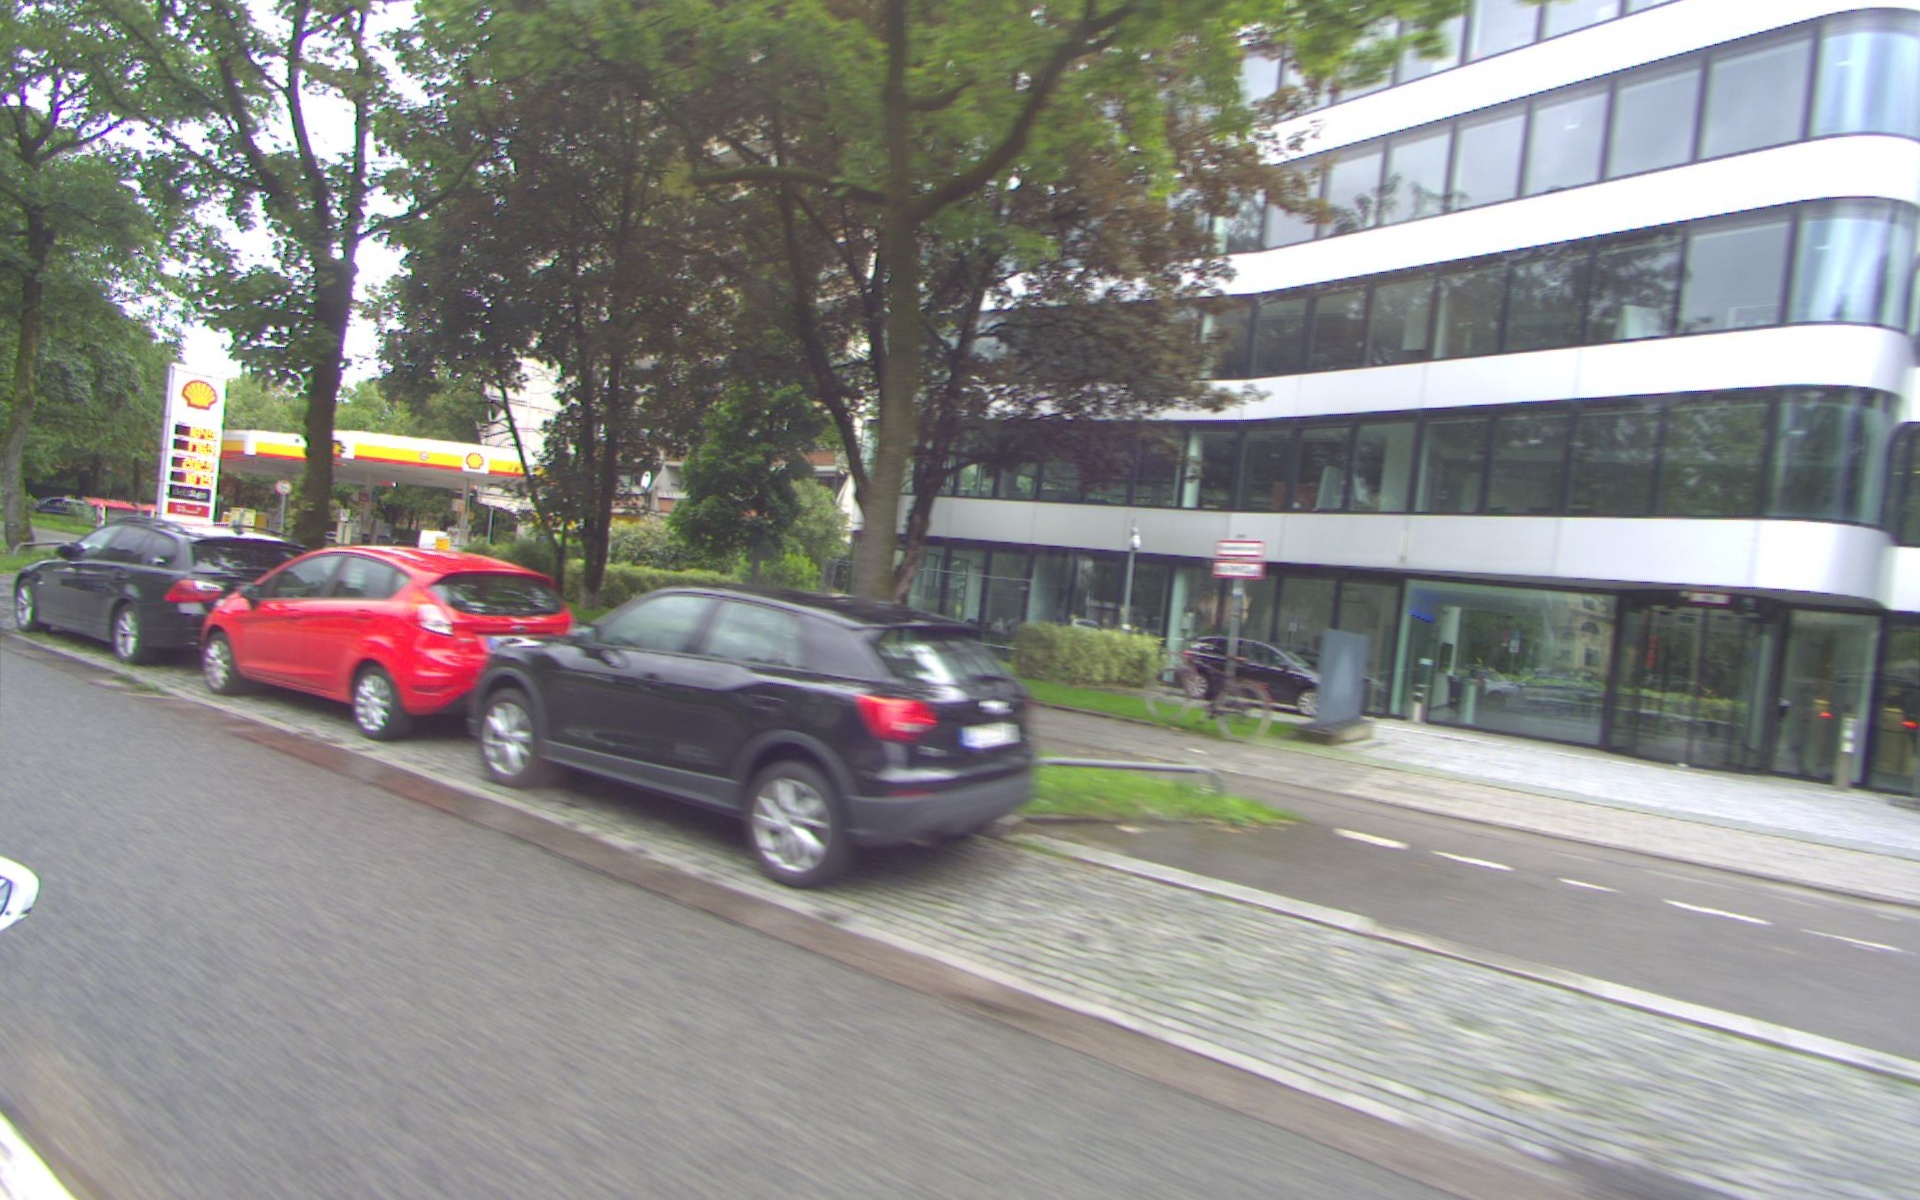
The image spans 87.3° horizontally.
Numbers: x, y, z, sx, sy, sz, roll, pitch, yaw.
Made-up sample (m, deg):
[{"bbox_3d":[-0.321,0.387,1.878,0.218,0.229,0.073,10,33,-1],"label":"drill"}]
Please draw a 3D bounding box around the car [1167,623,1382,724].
[{"bbox_3d":[6.854,1.551,21.981,3.981,1.567,2.021,7,0,31],"label":"car"}]

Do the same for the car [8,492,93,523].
[{"bbox_3d":[-59.426,-6.012,65.758,1.903,1.633,3.871,8,5,38],"label":"car"}]

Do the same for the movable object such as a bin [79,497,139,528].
[{"bbox_3d":[-46.002,-4.725,54.420,1.506,1.279,2.061,7,0,32],"label":"movable object such as a bin"}]

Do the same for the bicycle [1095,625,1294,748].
[{"bbox_3d":[2.929,1.057,12.700,2.209,1.198,0.749,7,1,32],"label":"bicycle"}]

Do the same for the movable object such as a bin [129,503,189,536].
[{"bbox_3d":[-44.855,-4.494,56.324,1.807,1.505,2.062,7,0,32],"label":"movable object such as a bin"}]

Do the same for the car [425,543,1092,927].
[{"bbox_3d":[-1.484,0.605,6.640,4.216,1.531,1.779,7,2,34],"label":"car"}]

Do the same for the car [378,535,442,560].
[{"bbox_3d":[-43.069,-4.093,78.865,1.742,1.633,4.021,8,5,38],"label":"car"}]

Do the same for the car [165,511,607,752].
[{"bbox_3d":[-5.187,0.166,8.953,3.954,1.521,1.675,7,2,32],"label":"car"}]

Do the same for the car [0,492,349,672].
[{"bbox_3d":[-8.893,-0.266,11.192,4.506,1.473,1.675,7,2,32],"label":"car"}]
